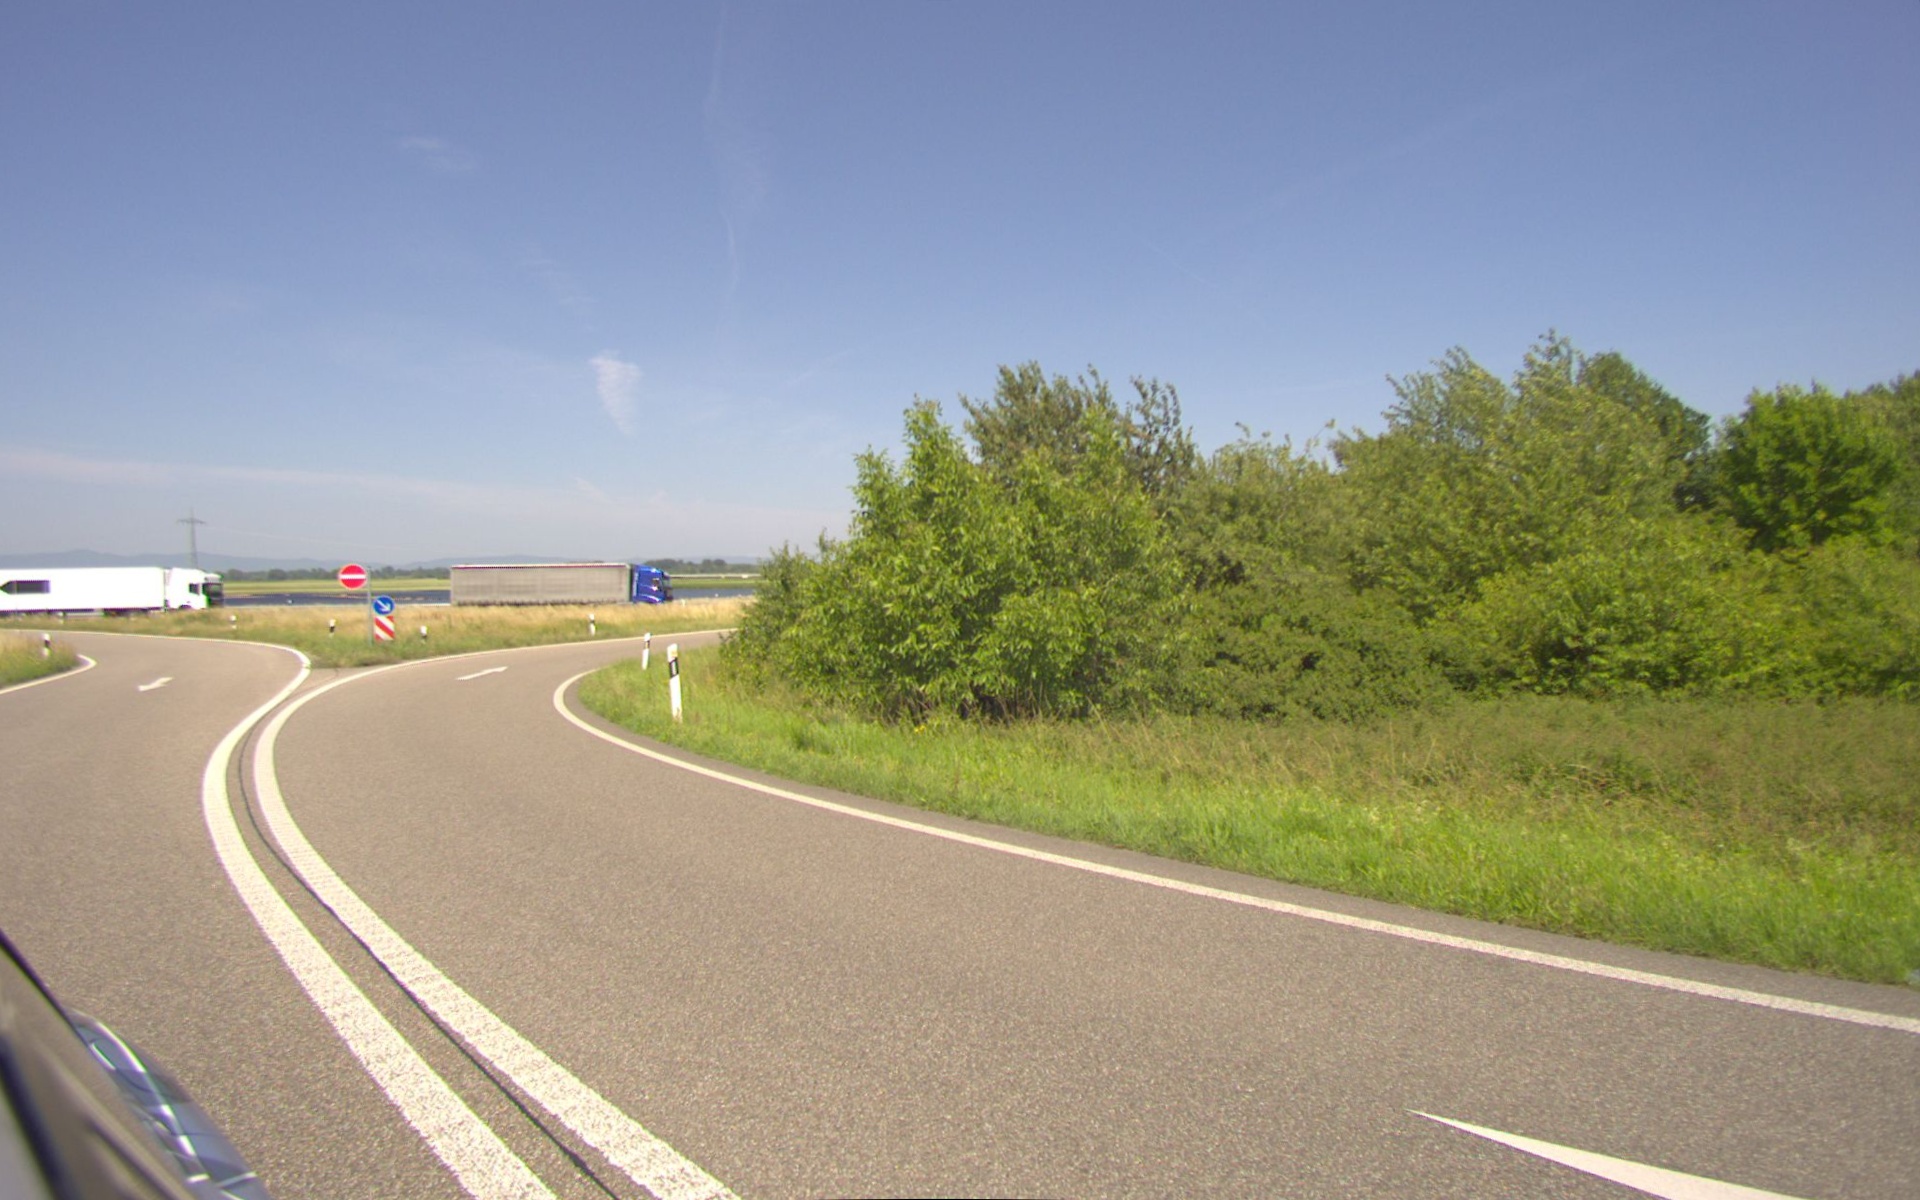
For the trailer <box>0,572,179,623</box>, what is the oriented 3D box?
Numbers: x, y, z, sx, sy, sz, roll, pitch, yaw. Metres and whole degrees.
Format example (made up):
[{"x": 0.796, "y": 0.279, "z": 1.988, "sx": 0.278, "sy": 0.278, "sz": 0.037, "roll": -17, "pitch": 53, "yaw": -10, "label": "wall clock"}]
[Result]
[{"x": -66.756, "y": -0.213, "z": 75.972, "sx": 13.450, "sy": 3.671, "sz": 3.106, "roll": 0, "pitch": 0, "yaw": -4, "label": "trailer"}]

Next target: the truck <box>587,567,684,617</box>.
[{"x": -24.990, "y": -0.605, "z": 78.261, "sx": 6.535, "sy": 3.693, "sz": 3.116, "roll": 0, "pitch": 0, "yaw": -1, "label": "truck"}]

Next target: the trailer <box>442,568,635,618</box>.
[{"x": -32.379, "y": -0.545, "z": 78.136, "sx": 13.607, "sy": 3.671, "sz": 3.103, "roll": 0, "pitch": 0, "yaw": -1, "label": "trailer"}]

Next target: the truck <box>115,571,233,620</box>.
[{"x": -59.250, "y": -0.335, "z": 76.404, "sx": 6.358, "sy": 3.544, "sz": 3.119, "roll": 0, "pitch": 0, "yaw": -4, "label": "truck"}]
